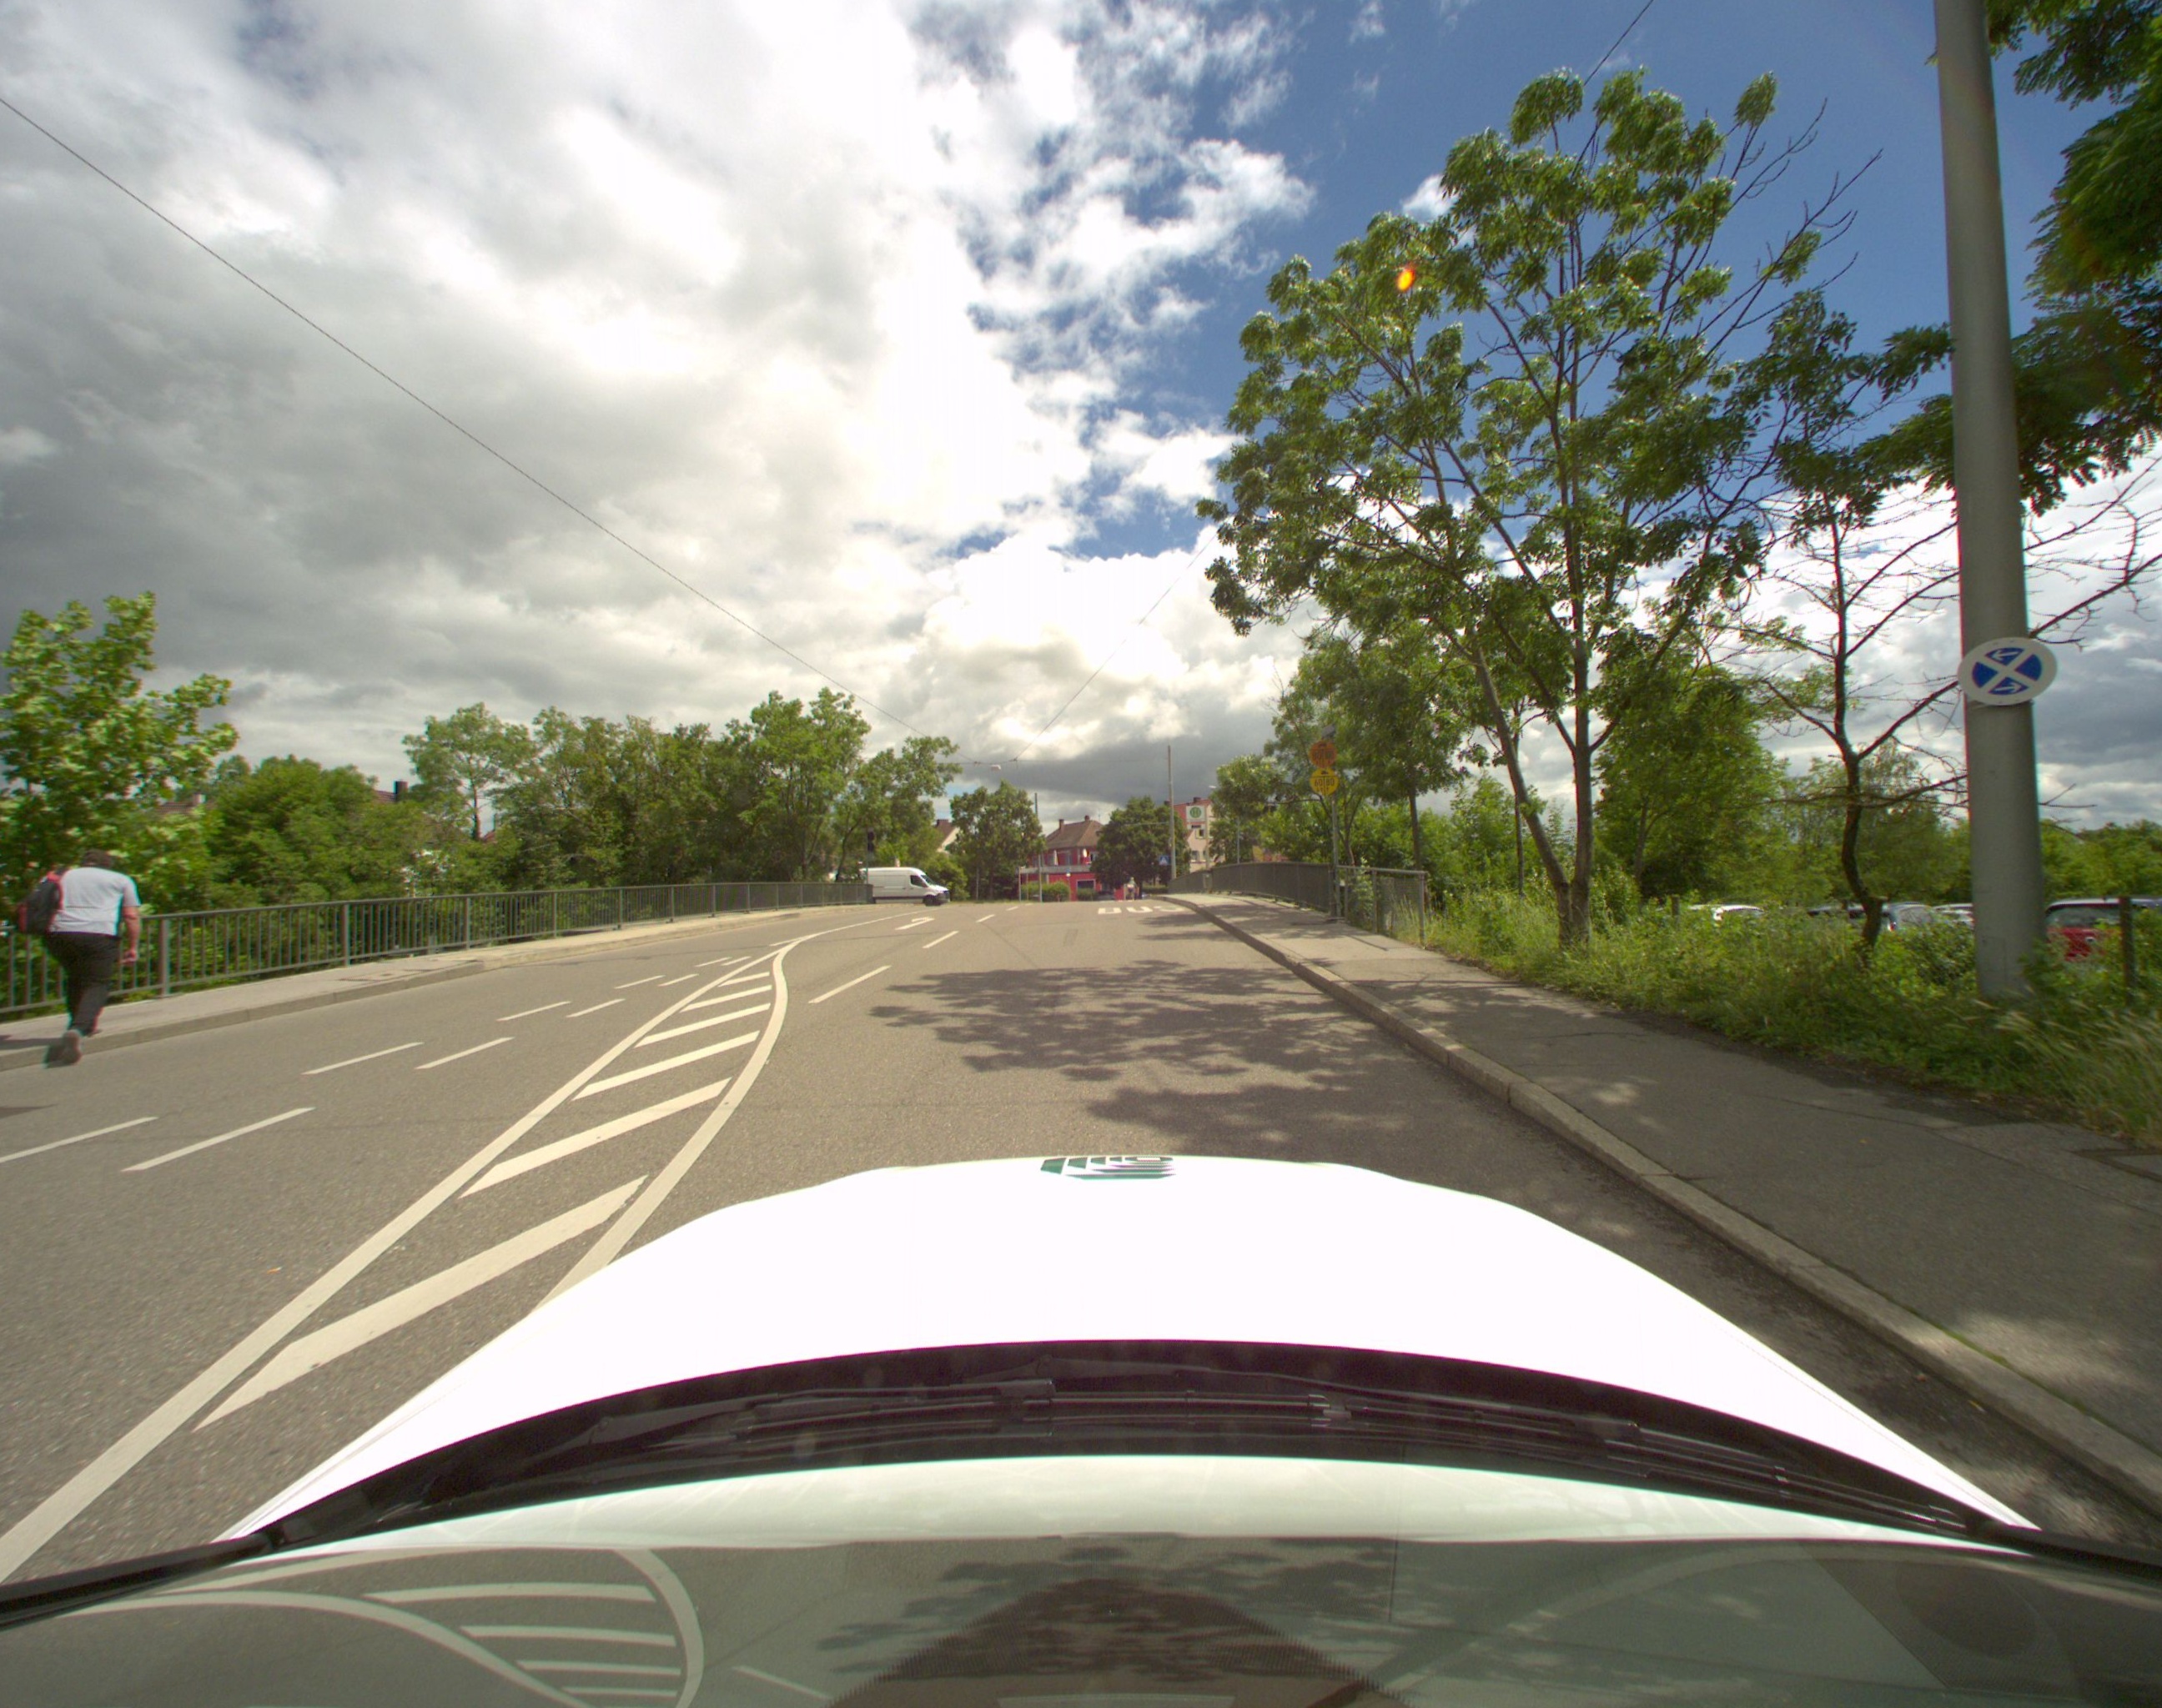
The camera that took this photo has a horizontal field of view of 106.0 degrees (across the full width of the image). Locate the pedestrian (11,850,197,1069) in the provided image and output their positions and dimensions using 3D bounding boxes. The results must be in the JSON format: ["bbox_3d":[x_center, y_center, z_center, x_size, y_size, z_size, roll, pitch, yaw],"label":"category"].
[{"bbox_3d":[-9.053,0.894,7.557,1.023,1.837,1.005,-1,-1,34],"label":"pedestrian"}]

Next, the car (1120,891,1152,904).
[{"bbox_3d":[6.131,4.869,90.998,1.848,1.378,3.776,1,-5,-30],"label":"car"}]

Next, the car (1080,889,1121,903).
[{"bbox_3d":[2.009,4.369,84.547,4.091,1.426,1.629,2,-3,-32],"label":"car"}]

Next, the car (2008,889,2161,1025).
[{"bbox_3d":[15.657,1.382,11.870,4.361,1.670,1.854,0,-2,-28],"label":"car"}]

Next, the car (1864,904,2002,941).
[{"bbox_3d":[39.448,3.146,37.816,2.003,1.508,3.967,3,-3,-24],"label":"car"}]

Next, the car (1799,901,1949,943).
[{"bbox_3d":[32.386,2.756,33.385,2.003,1.508,3.967,3,-3,-24],"label":"car"}]

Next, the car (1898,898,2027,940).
[{"bbox_3d":[43.987,3.203,40.737,2.003,1.904,3.967,3,-3,-24],"label":"car"}]

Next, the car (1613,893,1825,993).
[{"bbox_3d":[12.907,1.685,16.421,4.363,1.670,1.853,0,-2,-30],"label":"car"}]

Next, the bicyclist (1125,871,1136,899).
[{"bbox_3d":[3.412,2.158,56.101,0.681,1.826,1.082,-1,-6,6],"label":"bicyclist"}]

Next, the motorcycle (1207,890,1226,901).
[{"bbox_3d":[16.039,4.923,96.269,2.243,1.316,0.911,3,-4,-32],"label":"motorcycle"}]

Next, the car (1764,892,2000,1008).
[{"bbox_3d":[14.159,1.546,14.352,4.363,1.670,1.853,0,-2,-30],"label":"car"}]

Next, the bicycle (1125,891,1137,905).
[{"bbox_3d":[3.447,3.042,56.149,0.684,0.879,2.105,-1,-6,7],"label":"bicycle"}]

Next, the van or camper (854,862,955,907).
[{"bbox_3d":[-11.374,2.011,52.767,5.884,2.567,2.195,-3,-4,3],"label":"van or camper"}]
